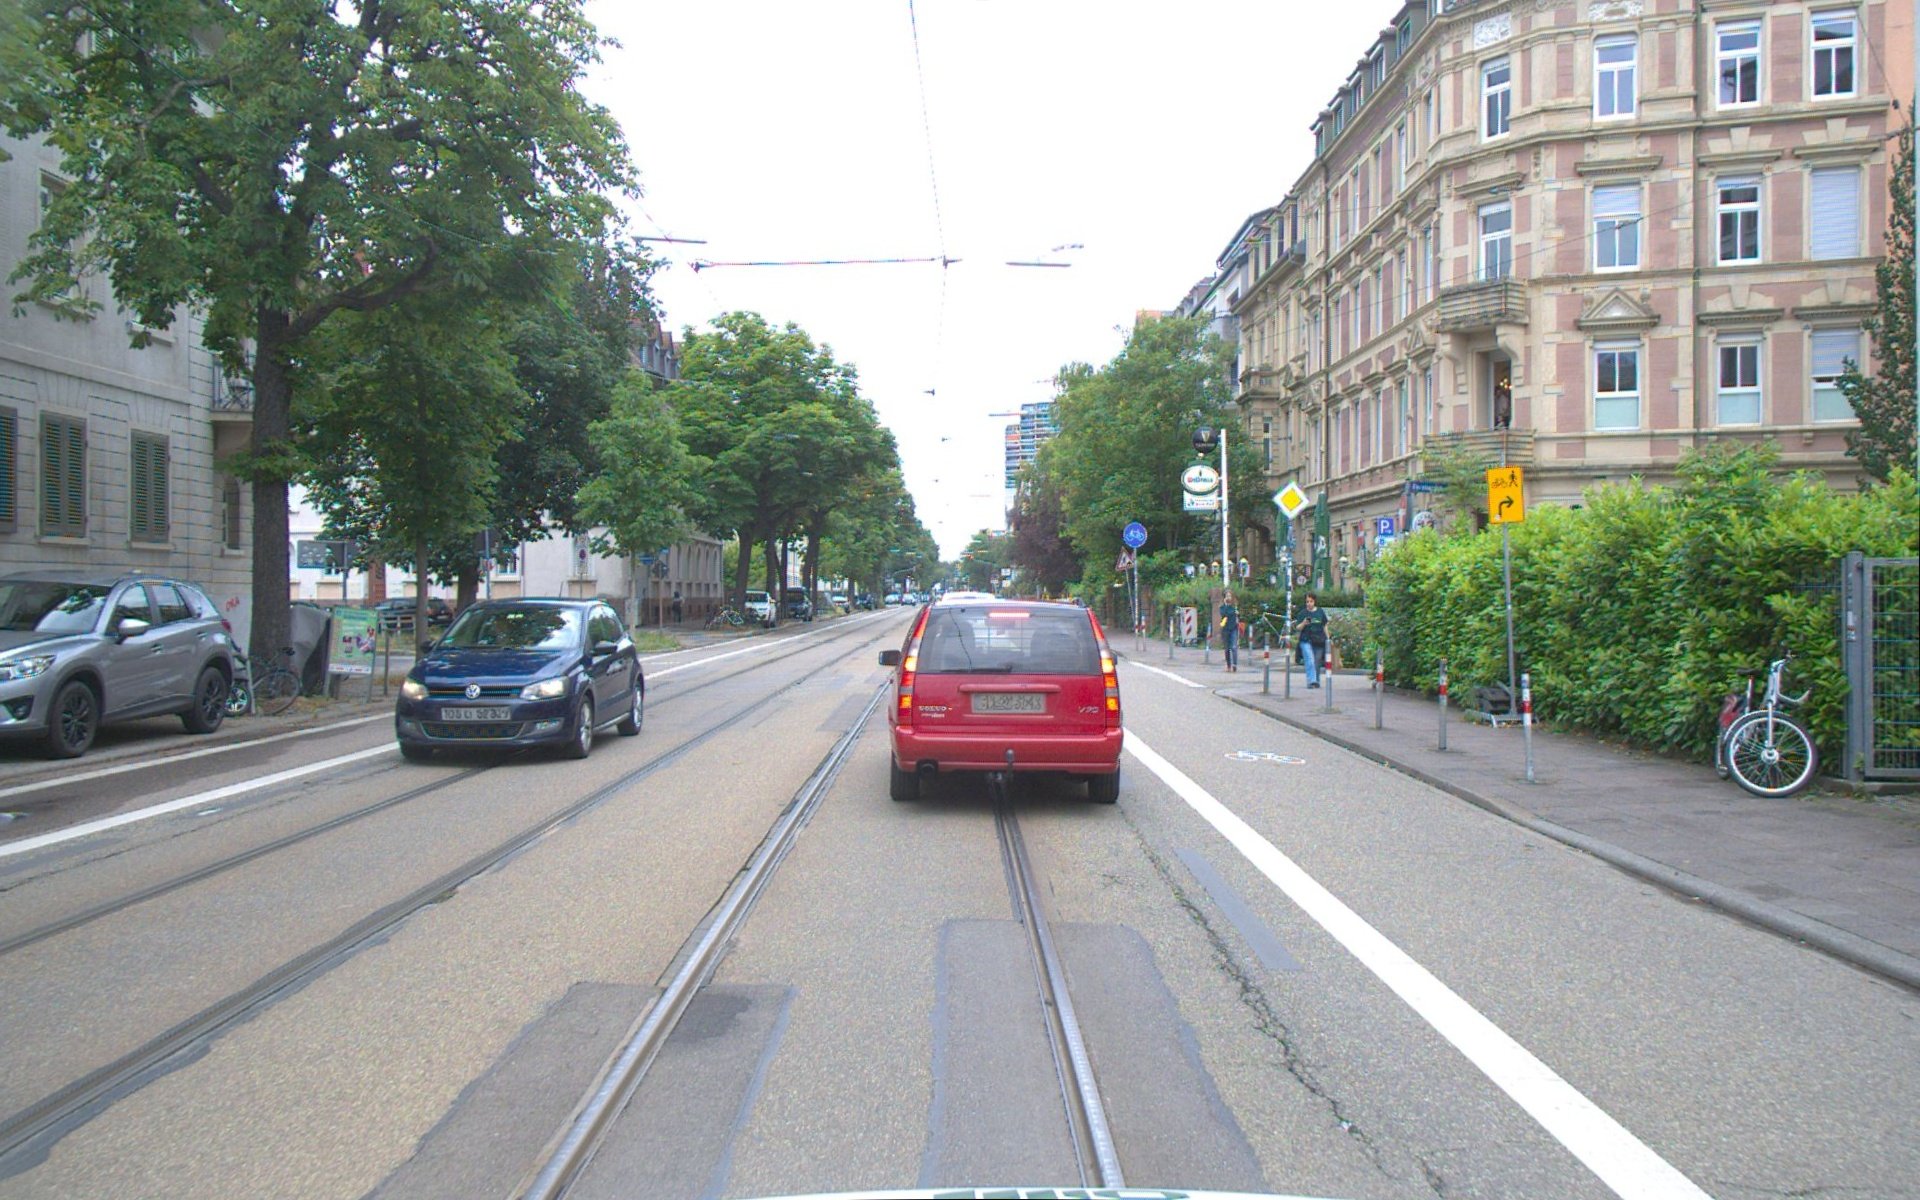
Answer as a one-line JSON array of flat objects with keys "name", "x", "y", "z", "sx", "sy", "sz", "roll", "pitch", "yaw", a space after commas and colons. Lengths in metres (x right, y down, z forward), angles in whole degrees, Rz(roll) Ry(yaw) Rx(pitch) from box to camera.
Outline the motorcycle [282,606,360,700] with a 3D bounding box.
[{"name": "motorcycle", "x": -9.183, "y": 0.738, "z": 23.844, "sx": 0.529, "sy": 1.279, "sz": 2.139, "roll": 0, "pitch": 0, "yaw": -7}]

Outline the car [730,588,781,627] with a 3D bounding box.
[{"name": "car", "x": -9.199, "y": 0.317, "z": 74.571, "sx": 1.859, "sy": 1.684, "sz": 4.224, "roll": 0, "pitch": 0, "yaw": -1}]

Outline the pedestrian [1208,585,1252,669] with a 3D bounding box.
[{"name": "pedestrian", "x": 5.556, "y": 0.542, "z": 33.995, "sx": 0.854, "sy": 1.685, "sz": 0.909, "roll": 0, "pitch": 0, "yaw": 12}]

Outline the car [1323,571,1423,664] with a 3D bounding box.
[{"name": "car", "x": 9.195, "y": 0.349, "z": 36.757, "sx": 2.008, "sy": 1.910, "sz": 5.033, "roll": 0, "pitch": 0, "yaw": 15}]

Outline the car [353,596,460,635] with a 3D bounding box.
[{"name": "car", "x": -21.803, "y": 0.607, "z": 65.154, "sx": 3.852, "sy": 1.489, "sz": 1.706, "roll": 0, "pitch": 0, "yaw": 23}]

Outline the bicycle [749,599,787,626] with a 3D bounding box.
[{"name": "bicycle", "x": -9.277, "y": 0.606, "z": 79.940, "sx": 1.706, "sy": 1.213, "sz": 0.653, "roll": 2, "pitch": 0, "yaw": 14}]

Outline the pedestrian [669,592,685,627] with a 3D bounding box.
[{"name": "pedestrian", "x": -12.368, "y": 0.418, "z": 72.291, "sx": 0.553, "sy": 1.493, "sz": 0.722, "roll": 0, "pitch": 0, "yaw": 0}]

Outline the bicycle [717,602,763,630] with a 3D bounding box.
[{"name": "bicycle", "x": -9.390, "y": 0.697, "z": 70.596, "sx": 1.883, "sy": 1.141, "sz": 0.624, "roll": 2, "pitch": 0, "yaw": -1}]

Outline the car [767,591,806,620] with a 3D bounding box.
[{"name": "car", "x": -9.782, "y": 0.300, "z": 93.457, "sx": 1.741, "sy": 1.537, "sz": 4.237, "roll": 1, "pitch": 0, "yaw": 0}]

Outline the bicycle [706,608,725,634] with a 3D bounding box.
[{"name": "bicycle", "x": -9.620, "y": 0.819, "z": 65.102, "sx": 0.473, "sy": 0.975, "sz": 1.398, "roll": 0, "pitch": 0, "yaw": 2}]

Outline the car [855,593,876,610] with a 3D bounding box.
[{"name": "car", "x": -9.197, "y": 0.172, "z": 160.603, "sx": 1.813, "sy": 1.590, "sz": 3.942, "roll": 0, "pitch": 0, "yaw": 0}]

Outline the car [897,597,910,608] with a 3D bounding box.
[{"name": "car", "x": -7.228, "y": 0.363, "z": 211.782, "sx": 1.720, "sy": 1.404, "sz": 4.025, "roll": 0, "pitch": 0, "yaw": -1}]

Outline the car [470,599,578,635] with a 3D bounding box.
[{"name": "car", "x": -16.487, "y": 0.639, "z": 62.527, "sx": 3.673, "sy": 1.330, "sz": 1.741, "roll": 0, "pitch": 0, "yaw": 23}]

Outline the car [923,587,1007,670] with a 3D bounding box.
[{"name": "car", "x": 0.155, "y": 0.567, "z": 34.862, "sx": 1.683, "sy": 1.653, "sz": 3.941, "roll": 0, "pitch": 0, "yaw": 2}]

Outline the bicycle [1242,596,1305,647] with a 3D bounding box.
[{"name": "bicycle", "x": 7.986, "y": 0.537, "z": 42.094, "sx": 1.570, "sy": 1.299, "sz": 0.513, "roll": 0, "pitch": 0, "yaw": 11}]

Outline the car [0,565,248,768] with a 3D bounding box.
[{"name": "car", "x": -8.828, "y": 0.533, "z": 16.140, "sx": 1.800, "sy": 1.690, "sz": 4.293, "roll": 2, "pitch": 0, "yaw": 1}]

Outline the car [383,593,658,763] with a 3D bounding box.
[{"name": "car", "x": -4.069, "y": 0.656, "z": 15.884, "sx": 1.693, "sy": 1.433, "sz": 3.655, "roll": 0, "pitch": 0, "yaw": -1}]

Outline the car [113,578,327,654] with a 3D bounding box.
[{"name": "car", "x": -17.224, "y": 0.342, "z": 38.541, "sx": 4.407, "sy": 1.692, "sz": 1.939, "roll": 0, "pitch": 0, "yaw": 19}]

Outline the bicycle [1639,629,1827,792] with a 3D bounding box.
[{"name": "bicycle", "x": 6.196, "y": 0.848, "z": 13.372, "sx": 0.620, "sy": 1.147, "sz": 1.812, "roll": -2, "pitch": 1, "yaw": -1}]

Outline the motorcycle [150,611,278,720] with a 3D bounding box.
[{"name": "motorcycle", "x": -8.896, "y": 0.770, "z": 19.738, "sx": 1.258, "sy": 1.243, "sz": 0.548, "roll": 1, "pitch": 0, "yaw": 6}]

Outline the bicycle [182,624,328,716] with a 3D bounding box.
[{"name": "bicycle", "x": -8.737, "y": 0.856, "z": 20.543, "sx": 1.347, "sy": 1.022, "sz": 0.930, "roll": 3, "pitch": 0, "yaw": 4}]

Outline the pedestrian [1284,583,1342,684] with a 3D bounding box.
[{"name": "pedestrian", "x": 6.000, "y": 0.562, "z": 28.168, "sx": 0.777, "sy": 1.665, "sz": 0.836, "roll": -1, "pitch": -1, "yaw": 0}]

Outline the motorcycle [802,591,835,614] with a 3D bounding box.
[{"name": "motorcycle", "x": -9.884, "y": 0.185, "z": 115.652, "sx": 2.226, "sy": 1.538, "sz": 0.923, "roll": 0, "pitch": -2, "yaw": 35}]

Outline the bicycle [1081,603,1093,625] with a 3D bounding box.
[{"name": "bicycle", "x": 6.032, "y": 0.657, "z": 78.698, "sx": 0.469, "sy": 1.063, "sz": 1.531, "roll": 0, "pitch": 0, "yaw": 0}]

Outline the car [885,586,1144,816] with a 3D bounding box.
[{"name": "car", "x": 0.341, "y": 0.647, "z": 12.614, "sx": 1.654, "sy": 1.467, "sz": 3.742, "roll": 1, "pitch": 0, "yaw": -1}]
